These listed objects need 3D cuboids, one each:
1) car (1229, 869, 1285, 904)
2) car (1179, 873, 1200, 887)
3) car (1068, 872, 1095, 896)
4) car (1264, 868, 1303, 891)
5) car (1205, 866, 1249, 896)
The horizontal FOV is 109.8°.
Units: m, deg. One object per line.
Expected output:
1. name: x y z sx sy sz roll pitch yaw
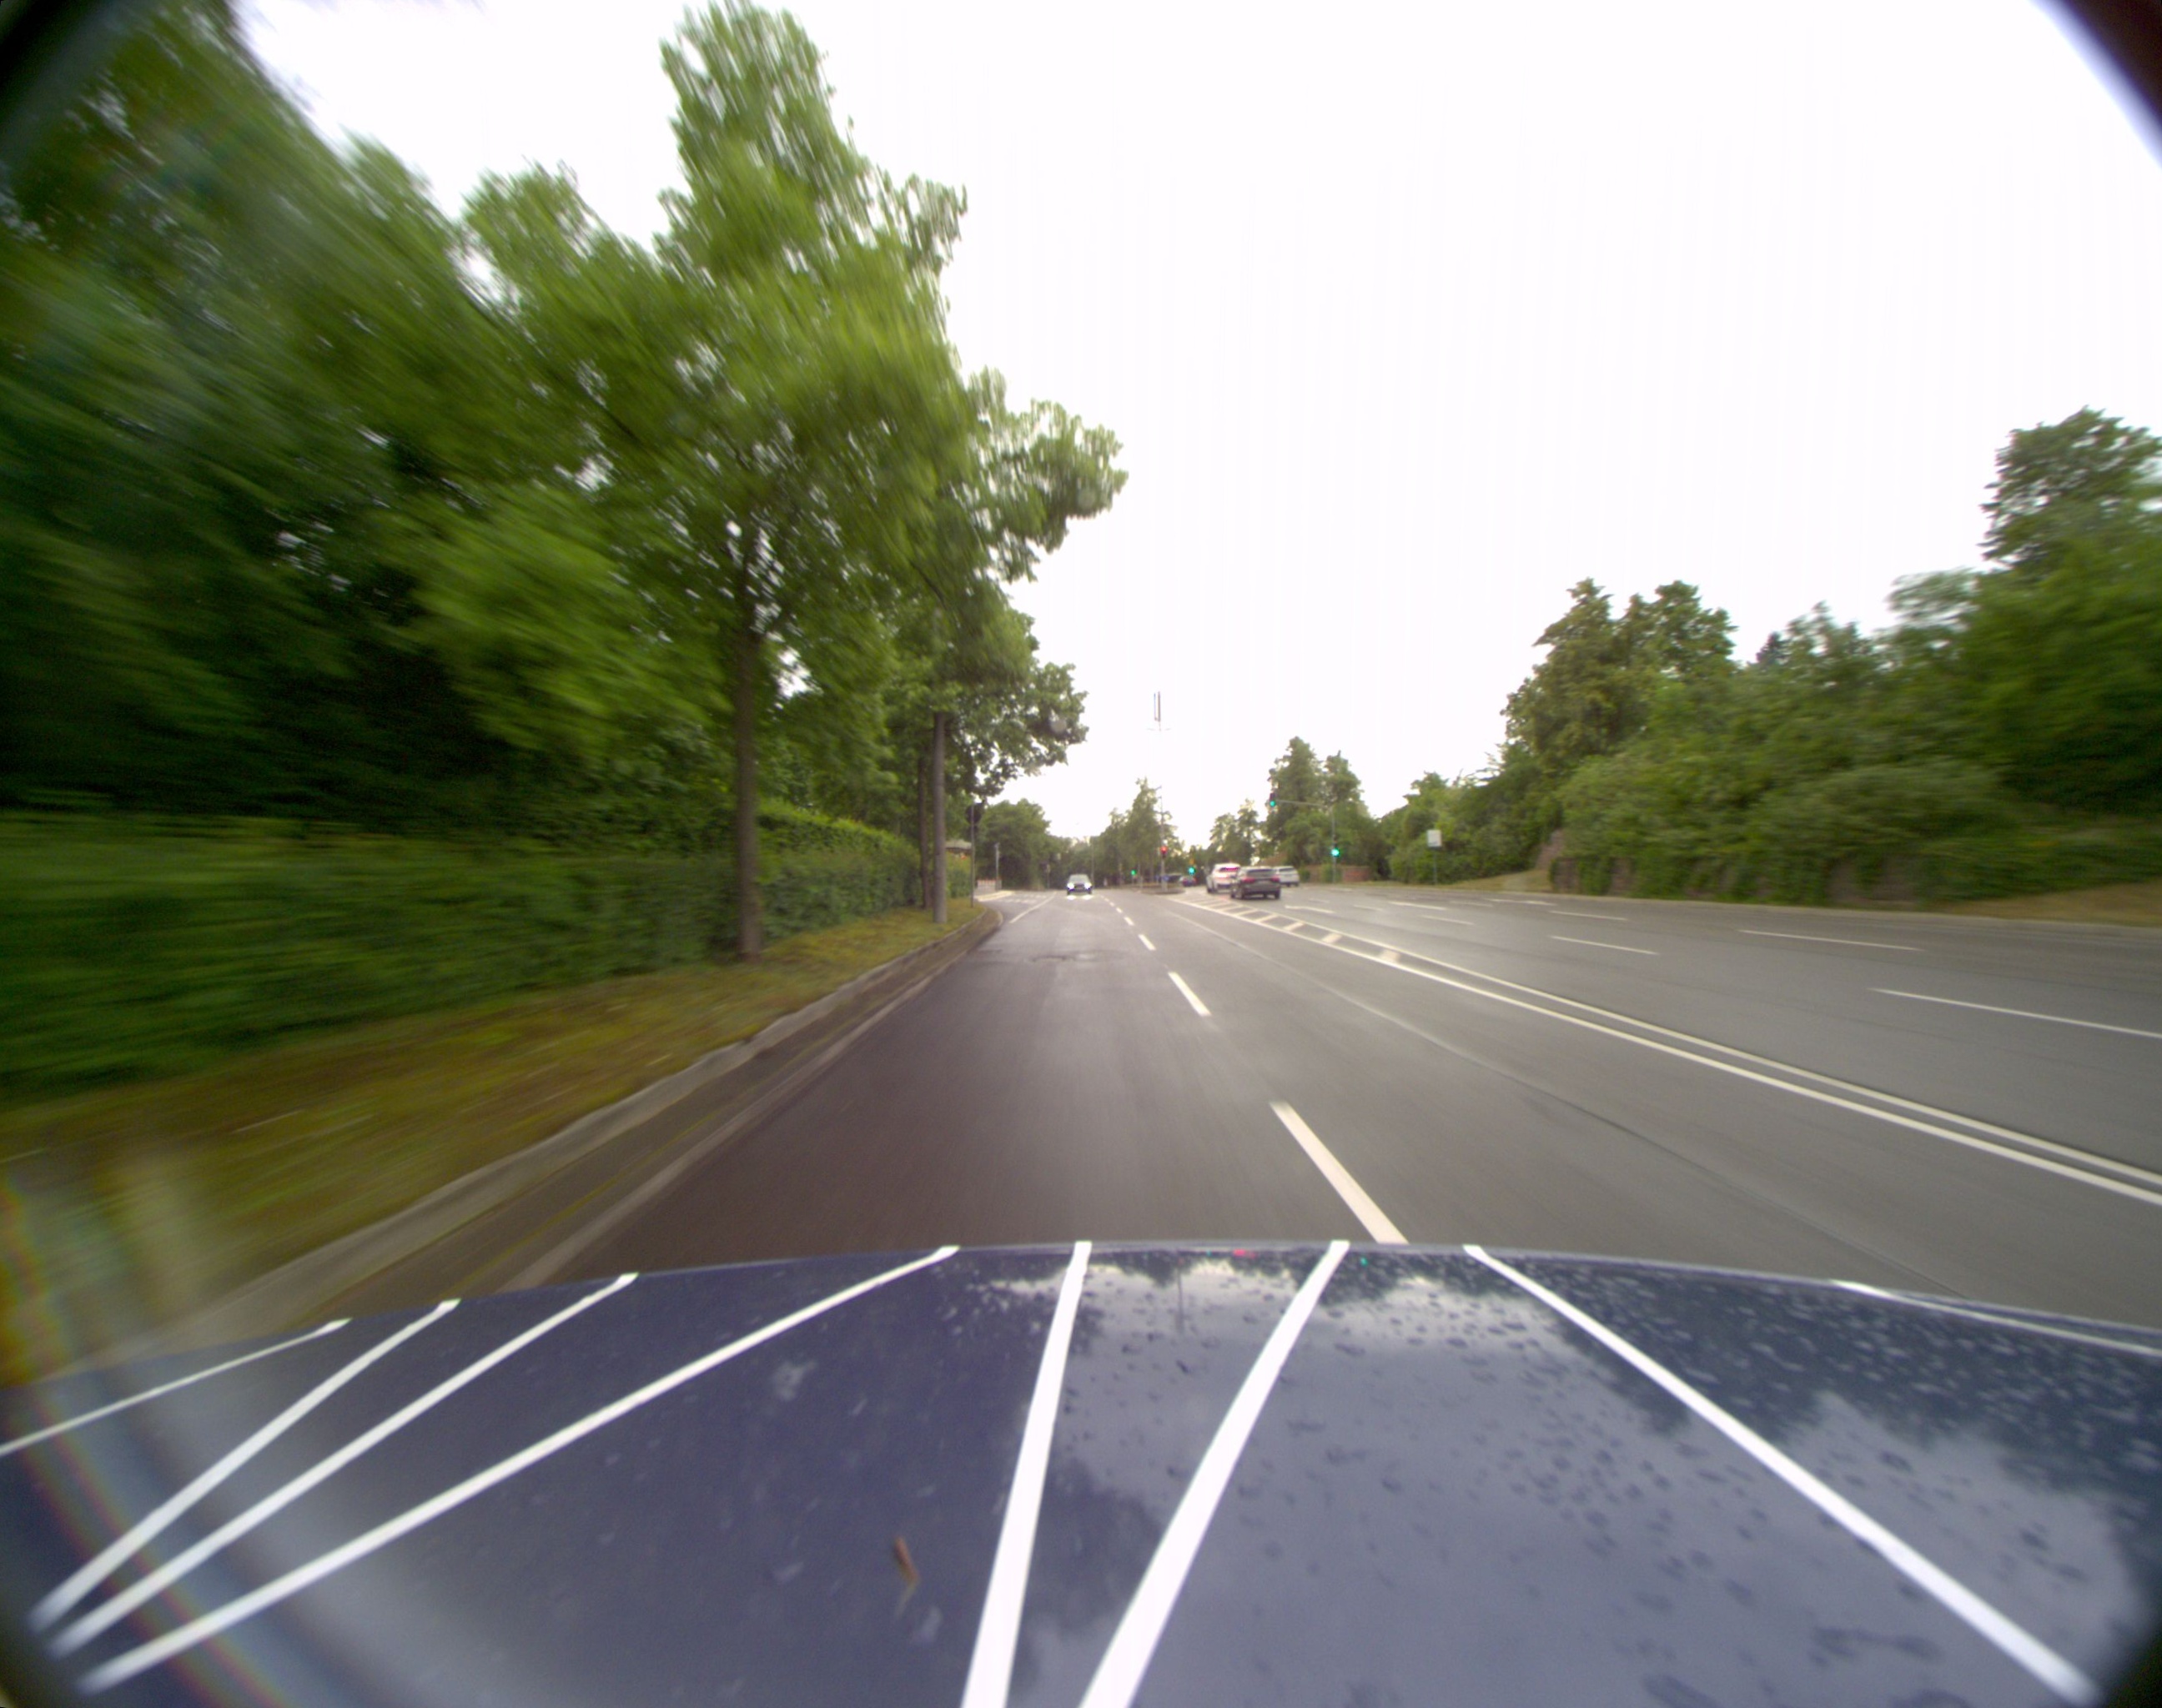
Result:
1. car: 8.063 1.470 35.037 1.781 1.458 3.999 -2 -1 3
2. car: 14.206 3.416 100.063 1.891 1.645 4.340 -2 -1 -3
3. car: 0.075 2.167 55.935 1.737 1.577 4.287 -2 -1 3
4. car: 15.542 1.933 58.546 1.890 1.645 4.451 -2 -1 2
5. car: 8.516 1.545 44.711 1.890 1.645 4.452 -2 -1 3
